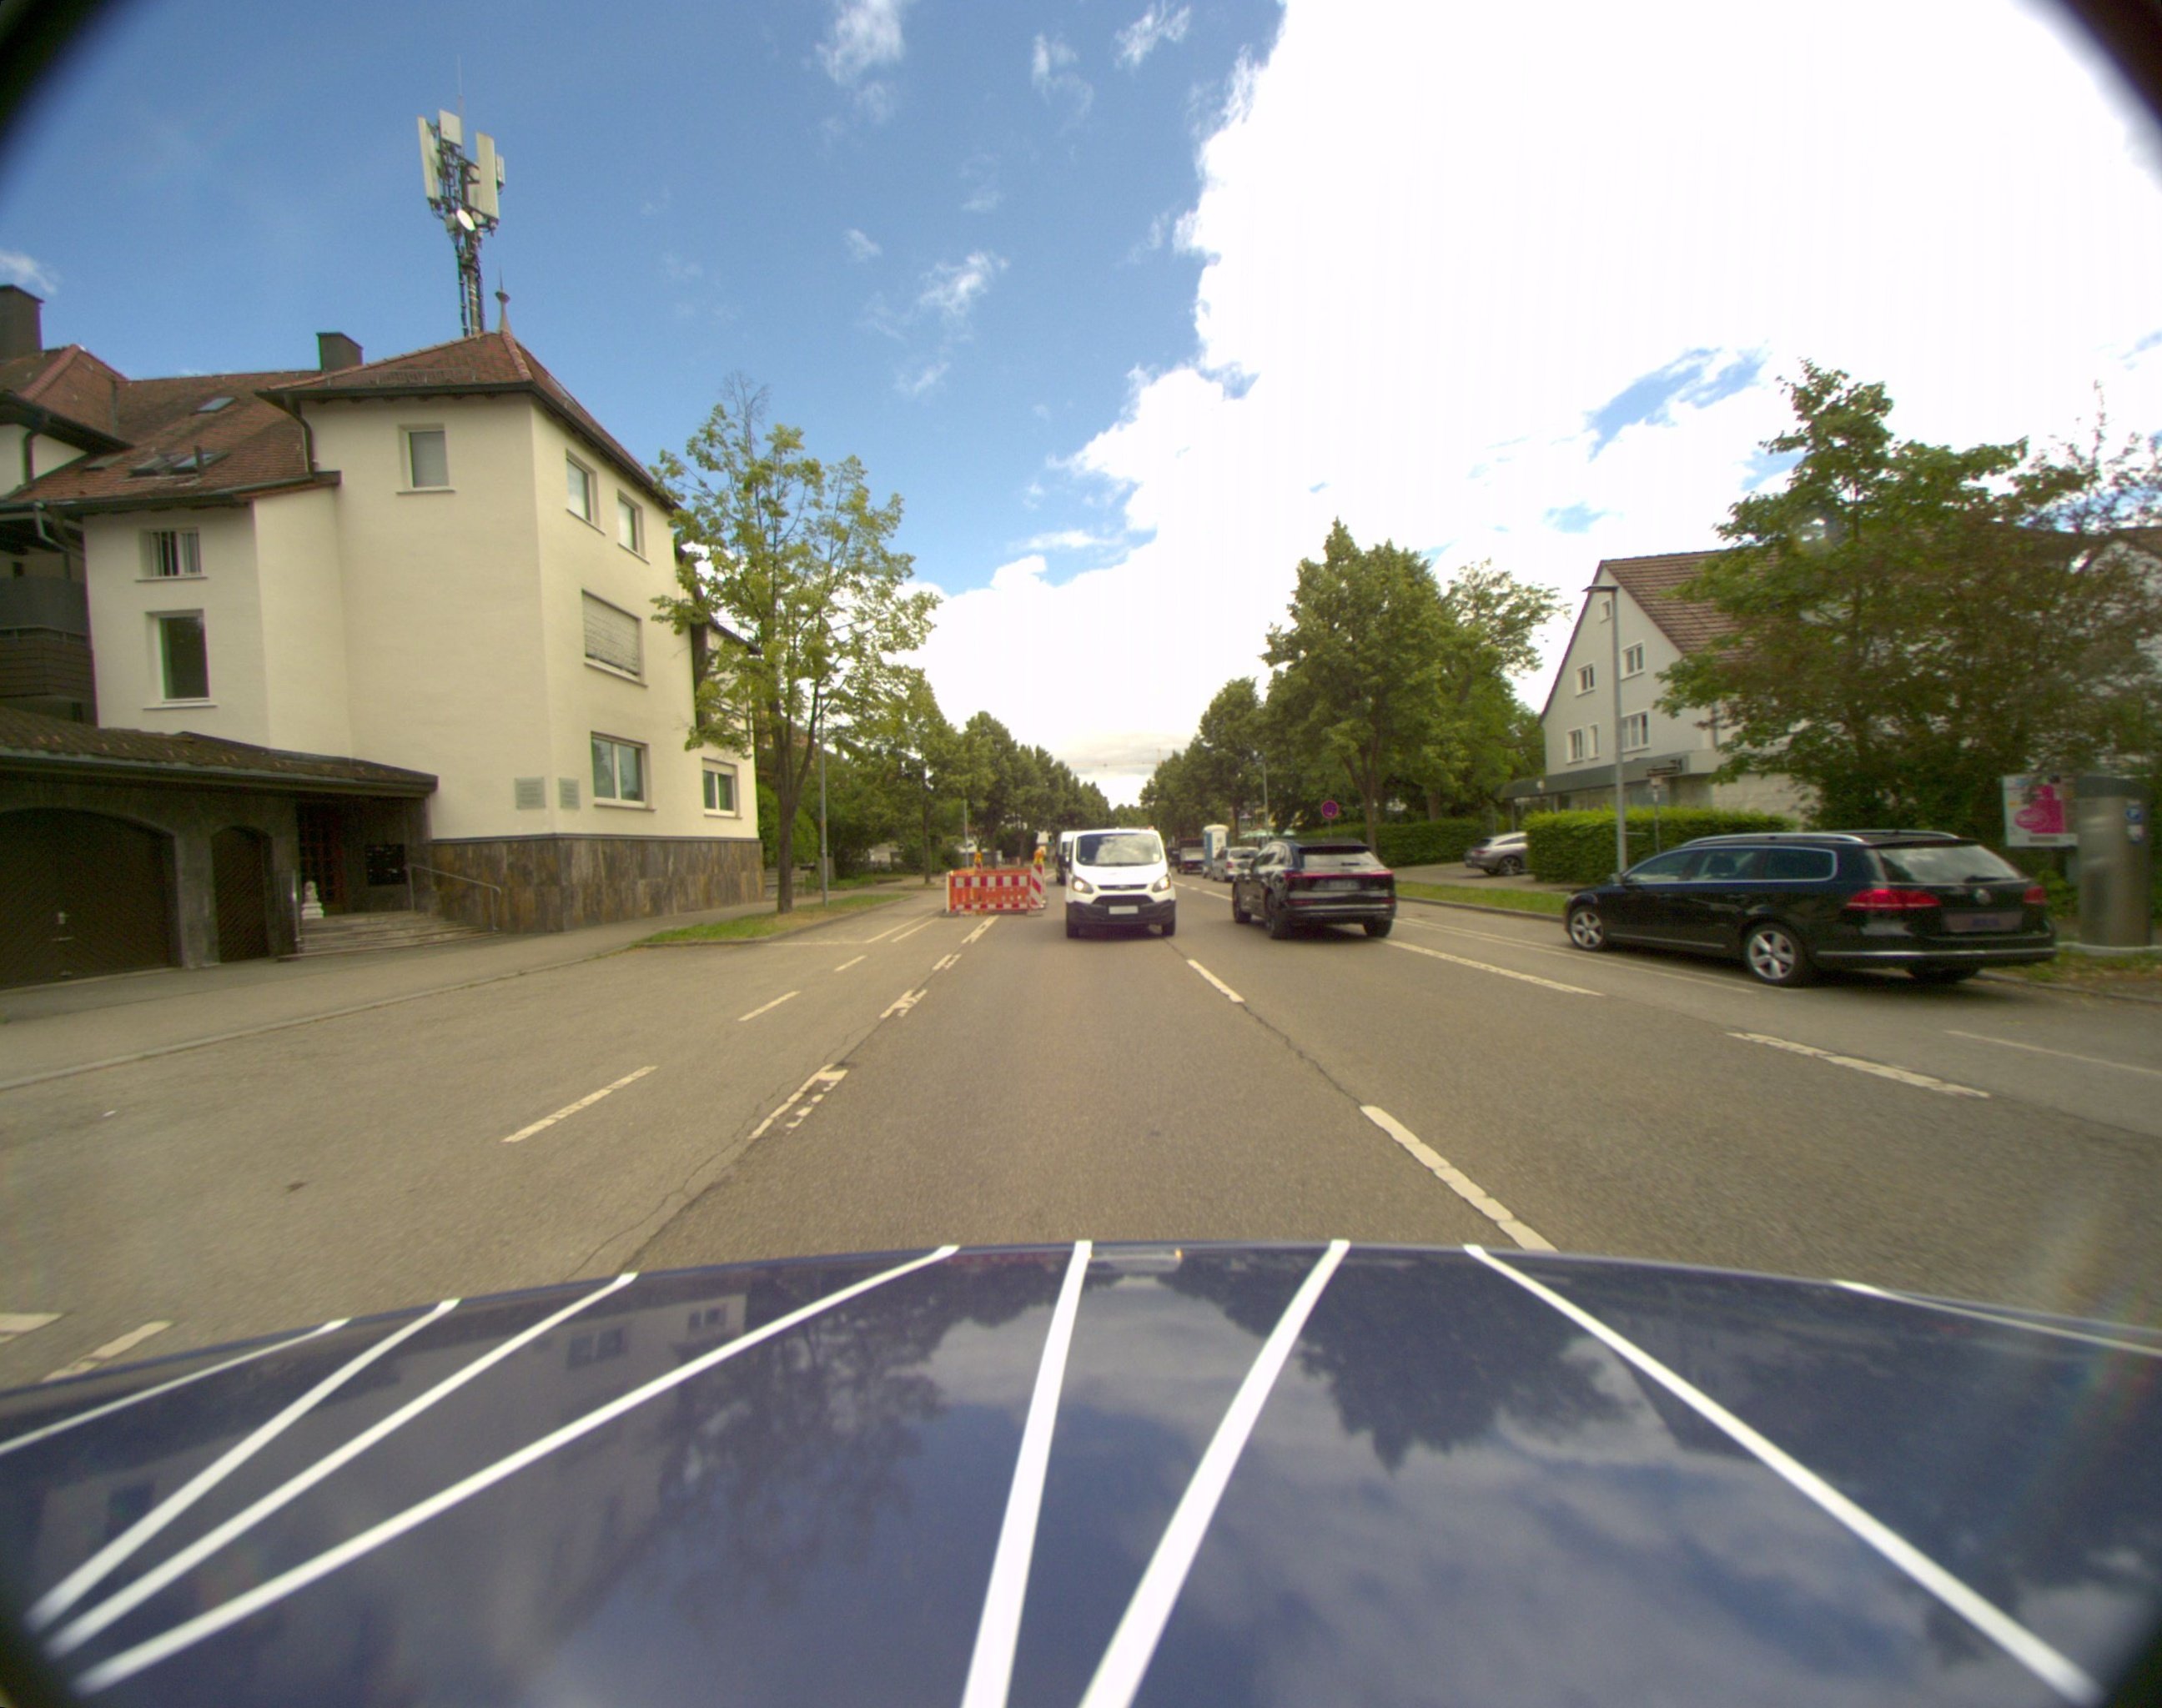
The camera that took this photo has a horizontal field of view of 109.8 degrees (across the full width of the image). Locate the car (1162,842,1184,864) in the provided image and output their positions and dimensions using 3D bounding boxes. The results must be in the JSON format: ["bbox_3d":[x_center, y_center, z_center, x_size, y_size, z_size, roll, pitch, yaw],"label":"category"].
[{"bbox_3d":[8.532,-0.121,70.716,1.711,1.863,4.399,-2,1,4],"label":"car"}]

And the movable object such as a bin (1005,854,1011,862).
[{"bbox_3d":[-9.223,0.500,95.658,0.540,1.052,0.519,-2,1,18],"label":"movable object such as a bin"}]

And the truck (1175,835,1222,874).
[{"bbox_3d":[7.377,0.004,48.338,2.300,2.274,6.464,-2,1,4],"label":"truck"}]

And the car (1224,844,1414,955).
[{"bbox_3d":[4.018,0.671,13.730,1.998,1.658,4.588,-1,0,0],"label":"car"}]

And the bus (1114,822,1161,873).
[{"bbox_3d":[4.034,-0.564,58.263,2.811,3.269,18.043,-1,1,2],"label":"bus"}]

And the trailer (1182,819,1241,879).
[{"bbox_3d":[7.020,-0.295,41.613,2.377,2.946,7.011,-2,1,4],"label":"trailer"}]

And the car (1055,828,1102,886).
[{"bbox_3d":[-0.089,0.122,36.735,1.998,2.584,4.000,-3,0,1],"label":"car"}]

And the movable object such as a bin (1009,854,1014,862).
[{"bbox_3d":[-8.711,0.514,95.493,0.499,1.038,0.520,-2,1,17],"label":"movable object such as a bin"}]

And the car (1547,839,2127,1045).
[{"bbox_3d":[7.625,0.682,8.548,1.865,1.544,4.617,-2,2,-1],"label":"car"}]

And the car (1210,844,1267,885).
[{"bbox_3d":[7.171,0.414,35.046,1.693,1.674,4.224,-2,1,0],"label":"car"}]

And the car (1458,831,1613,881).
[{"bbox_3d":[15.345,0.074,25.846,4.087,1.424,1.801,-3,0,7],"label":"car"}]

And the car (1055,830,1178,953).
[{"bbox_3d":[0.633,0.613,15.433,1.998,2.002,5.318,-2,1,1],"label":"car"}]
